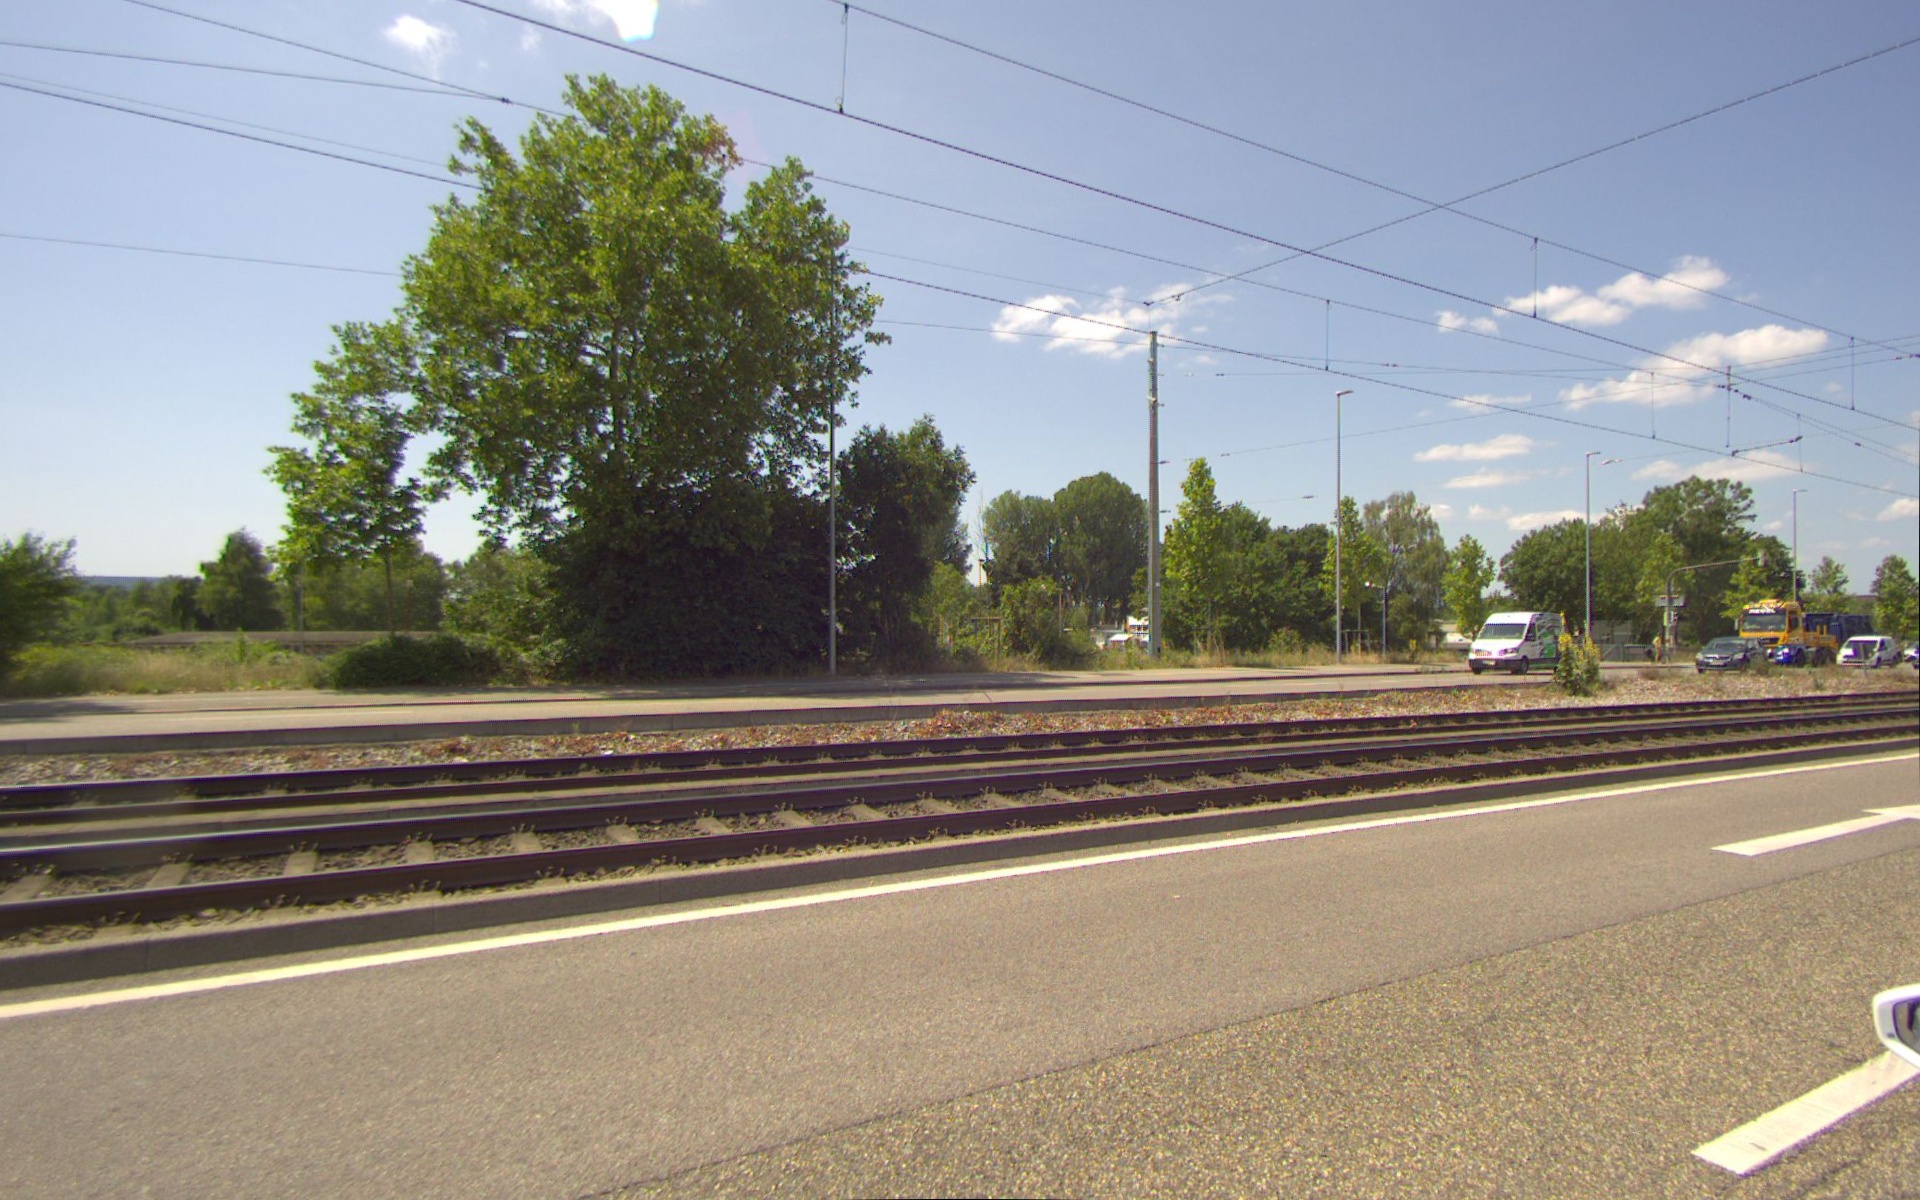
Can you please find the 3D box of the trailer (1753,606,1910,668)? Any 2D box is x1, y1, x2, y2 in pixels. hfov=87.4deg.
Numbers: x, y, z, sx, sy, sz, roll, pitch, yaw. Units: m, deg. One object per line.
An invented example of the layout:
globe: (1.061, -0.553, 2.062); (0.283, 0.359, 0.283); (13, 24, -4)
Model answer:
trailer: (55.584, 2.376, 63.799); (15.694, 3.565, 2.753); (2, 0, -31)

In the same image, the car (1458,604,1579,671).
car: (23.479, 1.563, 42.123); (6.180, 2.623, 2.226); (1, -3, -39)

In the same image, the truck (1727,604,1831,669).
truck: (48.684, 2.163, 59.696); (6.365, 3.616, 2.753); (2, 0, -31)

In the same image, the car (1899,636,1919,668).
car: (54.044, 2.899, 55.459); (4.404, 1.692, 1.815); (1, 0, -28)

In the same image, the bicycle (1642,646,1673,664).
bicycle: (42.516, 3.328, 61.212); (0.481, 1.000, 1.482); (1, 0, -33)

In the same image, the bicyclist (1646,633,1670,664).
bicyclist: (42.536, 2.942, 61.201); (0.337, 1.798, 1.111); (1, 0, -34)

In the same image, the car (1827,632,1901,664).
car: (51.575, 2.728, 57.291); (4.407, 1.692, 1.814); (1, 0, -29)

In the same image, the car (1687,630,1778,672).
car: (33.992, 2.220, 44.171); (4.413, 1.692, 1.811); (1, 1, -33)
